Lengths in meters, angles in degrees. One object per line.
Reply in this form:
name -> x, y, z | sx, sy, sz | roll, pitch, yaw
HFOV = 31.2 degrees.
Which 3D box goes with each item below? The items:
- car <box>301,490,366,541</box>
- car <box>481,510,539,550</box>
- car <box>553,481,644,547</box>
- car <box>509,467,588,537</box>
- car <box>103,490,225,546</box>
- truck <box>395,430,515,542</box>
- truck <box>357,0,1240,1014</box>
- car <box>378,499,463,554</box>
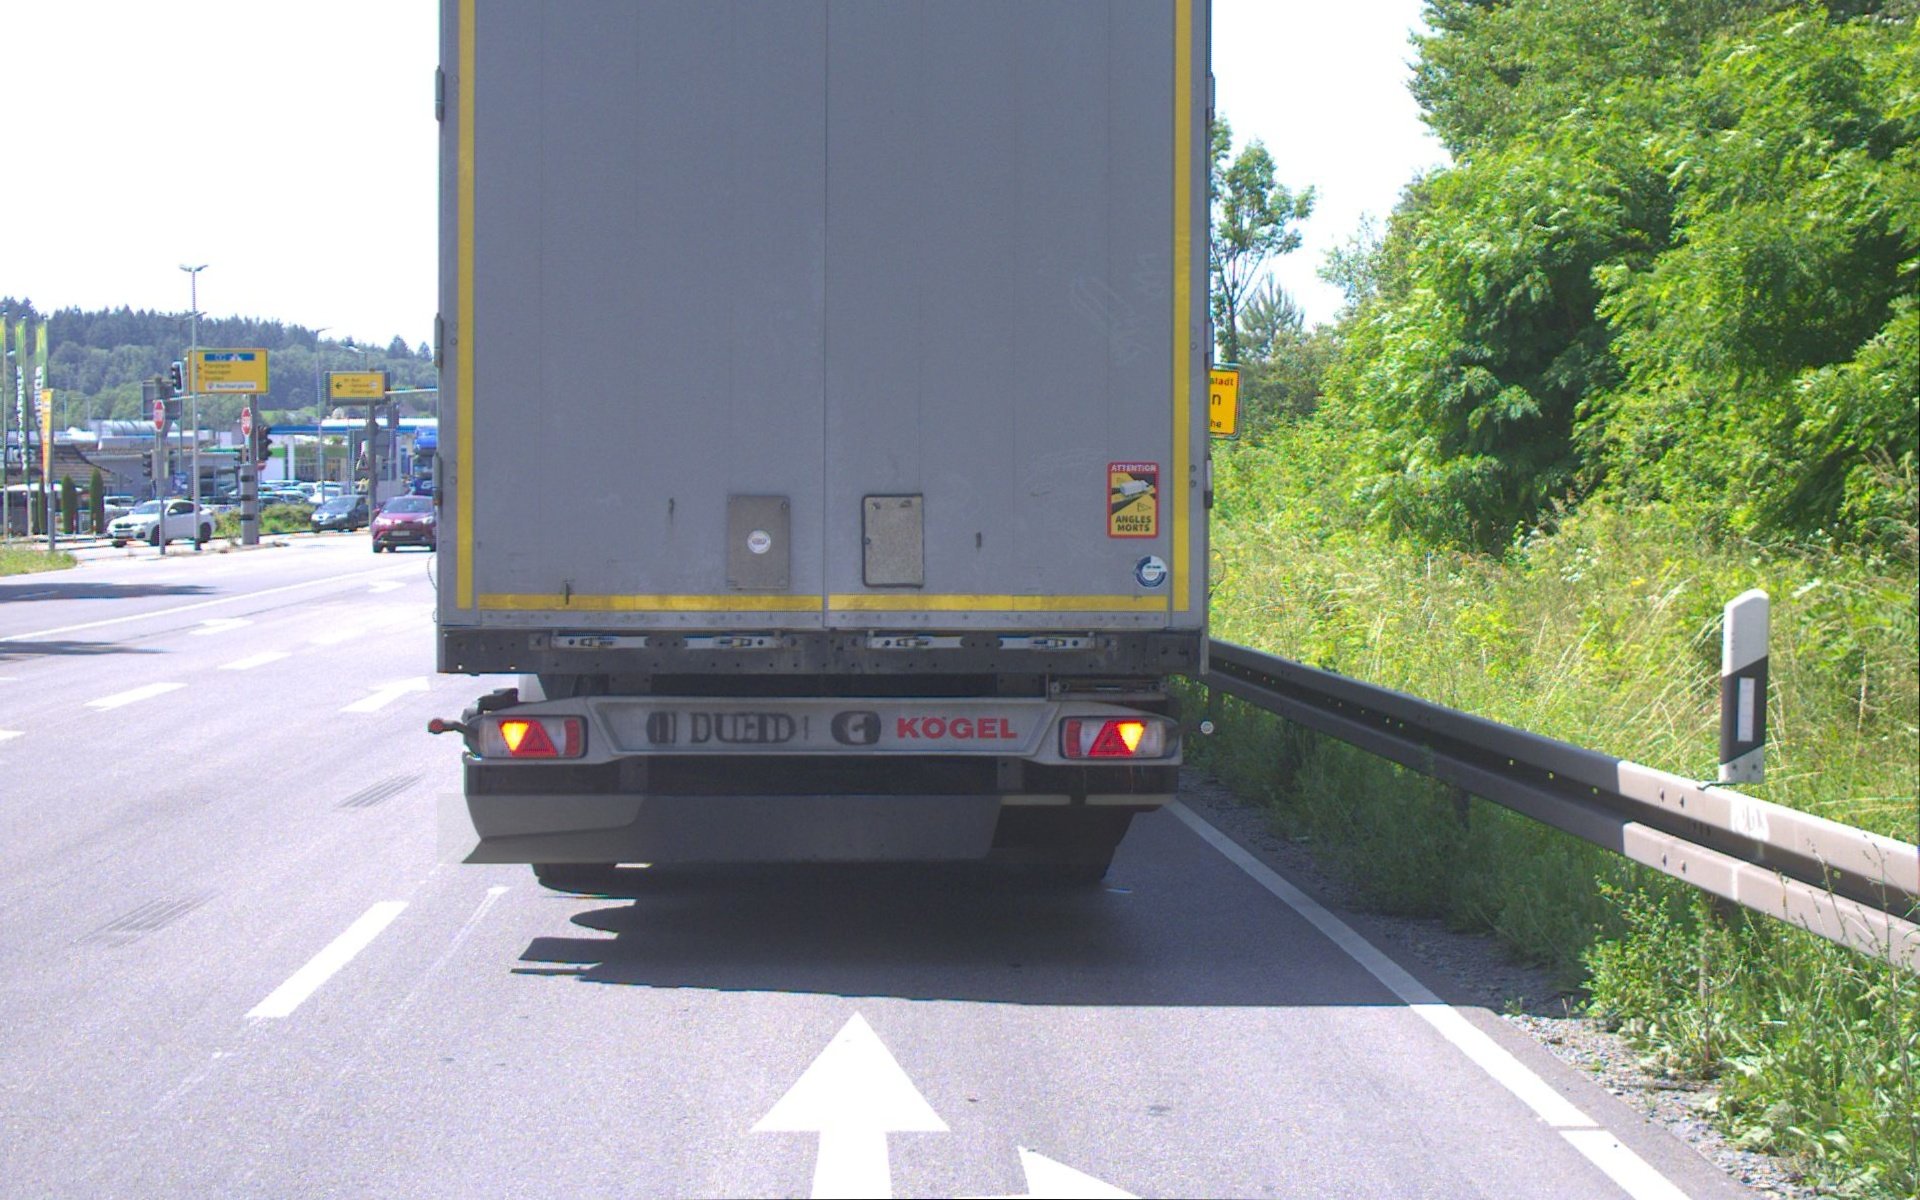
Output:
car -> -25.127, -3.385, 138.001 | 1.993, 2.007, 4.001 | 0, 1, -2
car -> -16.378, -2.545, 125.290 | 1.766, 1.381, 4.001 | 1, 1, -3
car -> -7.702, -1.812, 73.416 | 1.528, 1.336, 3.330 | 1, 1, 1
car -> -12.274, -2.934, 102.747 | 1.993, 2.007, 4.001 | 1, 1, -2
car -> -28.772, -2.968, 124.352 | 1.997, 2.006, 3.992 | 1, 2, 34
truck -> -19.994, -4.495, 137.046 | 2.968, 4.162, 16.577 | 0, 2, -2
truck -> -0.685, -1.128, 19.321 | 2.755, 4.623, 16.657 | 1, 1, -1
car -> -14.973, -2.049, 95.530 | 1.903, 1.503, 3.765 | 0, 1, -2
